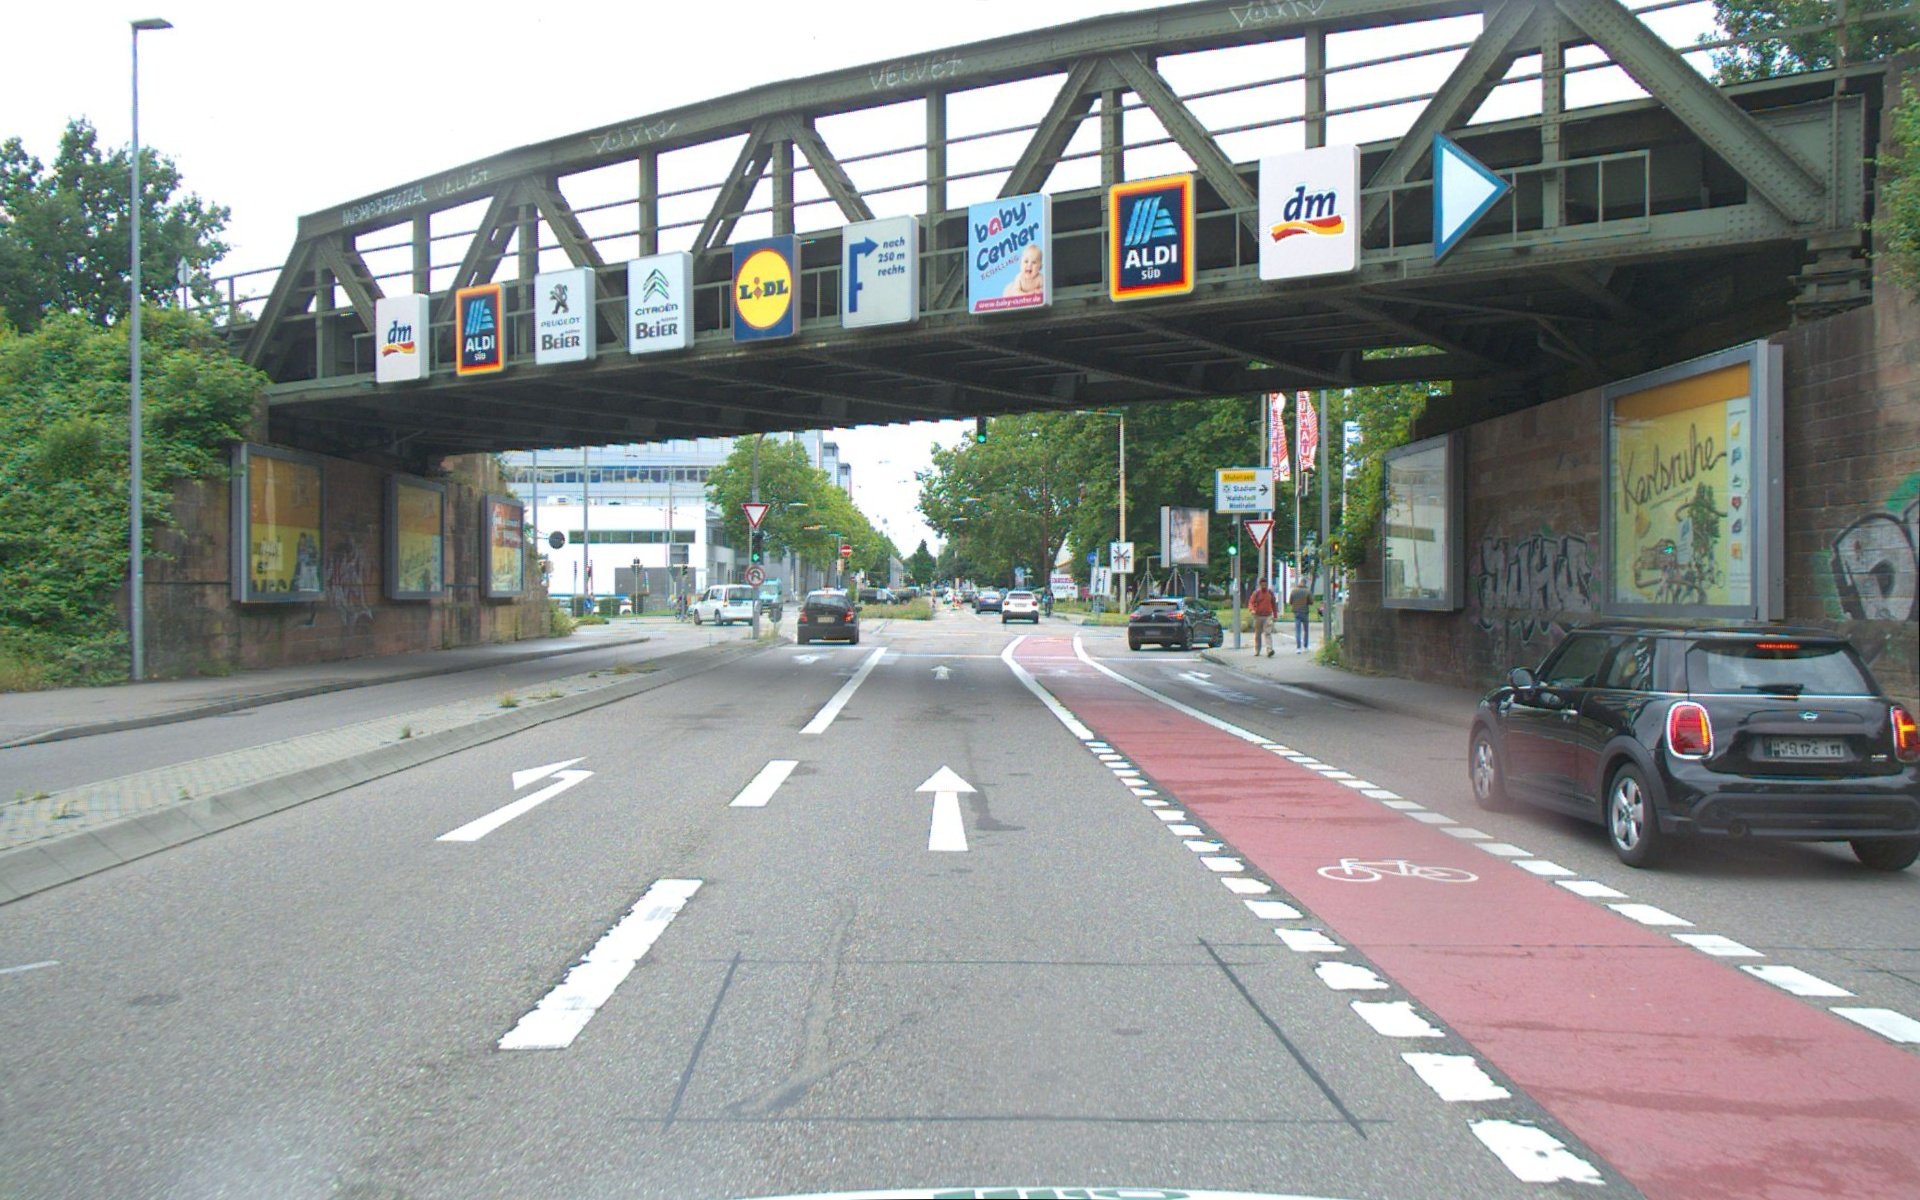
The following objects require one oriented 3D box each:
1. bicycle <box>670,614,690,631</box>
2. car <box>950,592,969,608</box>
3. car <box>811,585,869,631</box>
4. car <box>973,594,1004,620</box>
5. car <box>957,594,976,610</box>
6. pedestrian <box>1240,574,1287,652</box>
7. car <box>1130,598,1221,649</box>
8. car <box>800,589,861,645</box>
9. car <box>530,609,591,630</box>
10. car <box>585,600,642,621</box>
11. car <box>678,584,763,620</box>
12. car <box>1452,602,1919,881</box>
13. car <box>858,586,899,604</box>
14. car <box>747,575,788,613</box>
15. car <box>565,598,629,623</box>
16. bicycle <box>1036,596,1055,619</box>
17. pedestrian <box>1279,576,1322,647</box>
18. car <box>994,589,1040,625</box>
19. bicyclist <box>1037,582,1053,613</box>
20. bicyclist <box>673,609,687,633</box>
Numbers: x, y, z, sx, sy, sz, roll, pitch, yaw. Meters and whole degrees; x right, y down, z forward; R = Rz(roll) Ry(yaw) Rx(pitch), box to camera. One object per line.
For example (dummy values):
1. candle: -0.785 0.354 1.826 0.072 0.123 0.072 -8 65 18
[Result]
1. bicycle: -18.025 1.446 106.531 0.631 1.081 2.002 1 1 9
2. car: -0.082 -0.018 171.780 1.760 1.540 3.703 1 1 -4
3. car: -4.663 0.297 63.808 1.741 1.681 3.659 1 1 -12
4. car: 1.809 0.423 106.217 1.651 1.540 3.703 1 1 -4
5. car: 0.722 0.238 185.634 1.839 1.661 3.998 -1 0 -3
6. pedestrian: 7.049 0.300 38.429 0.856 1.790 0.786 0 0 -10
7. car: 5.976 0.628 45.611 1.614 1.303 3.418 1 1 23
8. car: -3.855 0.484 49.294 1.734 1.554 3.666 1 1 -4
9. car: -30.649 1.480 126.922 4.125 1.559 1.913 -1 0 0
10. car: -29.301 0.898 139.903 4.437 1.662 1.911 -1 0 -4
11. car: -11.008 0.080 75.782 1.944 1.554 4.952 0 1 -33
12. car: 4.683 0.780 10.949 1.645 1.456 3.773 1 1 -1
13. car: -7.752 -0.472 156.640 3.805 1.583 1.825 1 0 -2
14. car: -14.913 -0.447 128.446 2.280 2.875 5.951 -1 0 2
15. car: -23.372 0.692 106.518 3.580 1.554 1.775 -1 0 17
16. bicycle: 4.708 0.383 91.374 0.800 1.234 2.682 -1 0 -1
17. pedestrian: 8.029 0.263 38.986 0.730 1.669 0.775 0 0 39
18. car: 2.679 0.305 78.894 1.787 1.628 3.773 1 1 -4
19. bicyclist: 4.699 -0.135 91.371 0.800 1.658 1.235 -1 0 -1
20. bicyclist: -18.029 1.359 106.510 0.631 1.545 0.627 1 1 9
